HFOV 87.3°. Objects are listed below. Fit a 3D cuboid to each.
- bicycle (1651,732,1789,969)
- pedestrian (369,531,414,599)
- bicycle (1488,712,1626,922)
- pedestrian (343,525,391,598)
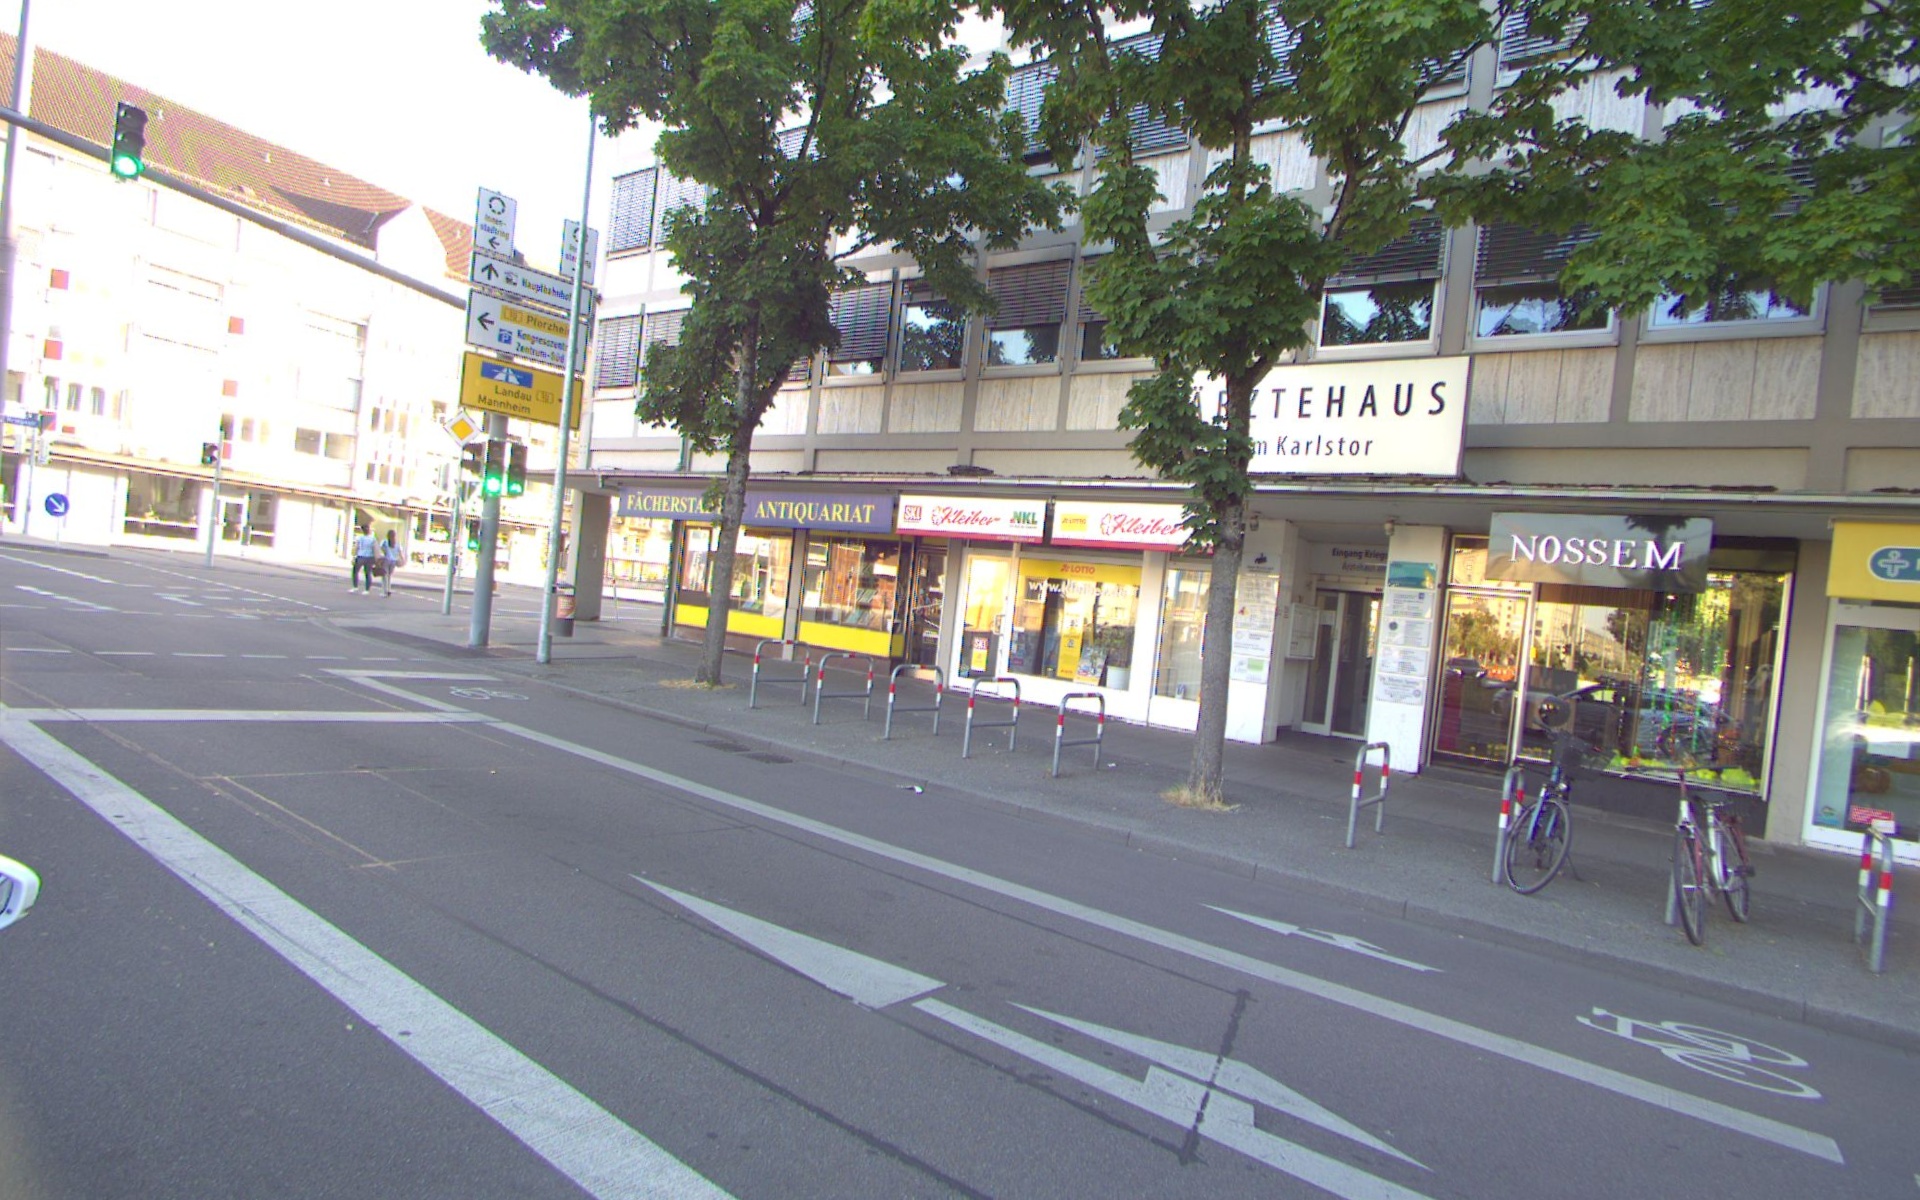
[{"bbox_3d":[4.939,1.543,6.583,0.530,1.200,1.631,7,1,36],"label":"bicycle"},{"bbox_3d":[-14.171,-0.870,25.095,0.695,1.603,0.822,6,1,-19],"label":"pedestrian"},{"bbox_3d":[4.303,1.486,7.339,0.655,1.155,1.742,7,1,29],"label":"bicycle"},{"bbox_3d":[-14.288,-0.926,24.258,0.716,1.670,0.768,6,1,-19],"label":"pedestrian"}]
